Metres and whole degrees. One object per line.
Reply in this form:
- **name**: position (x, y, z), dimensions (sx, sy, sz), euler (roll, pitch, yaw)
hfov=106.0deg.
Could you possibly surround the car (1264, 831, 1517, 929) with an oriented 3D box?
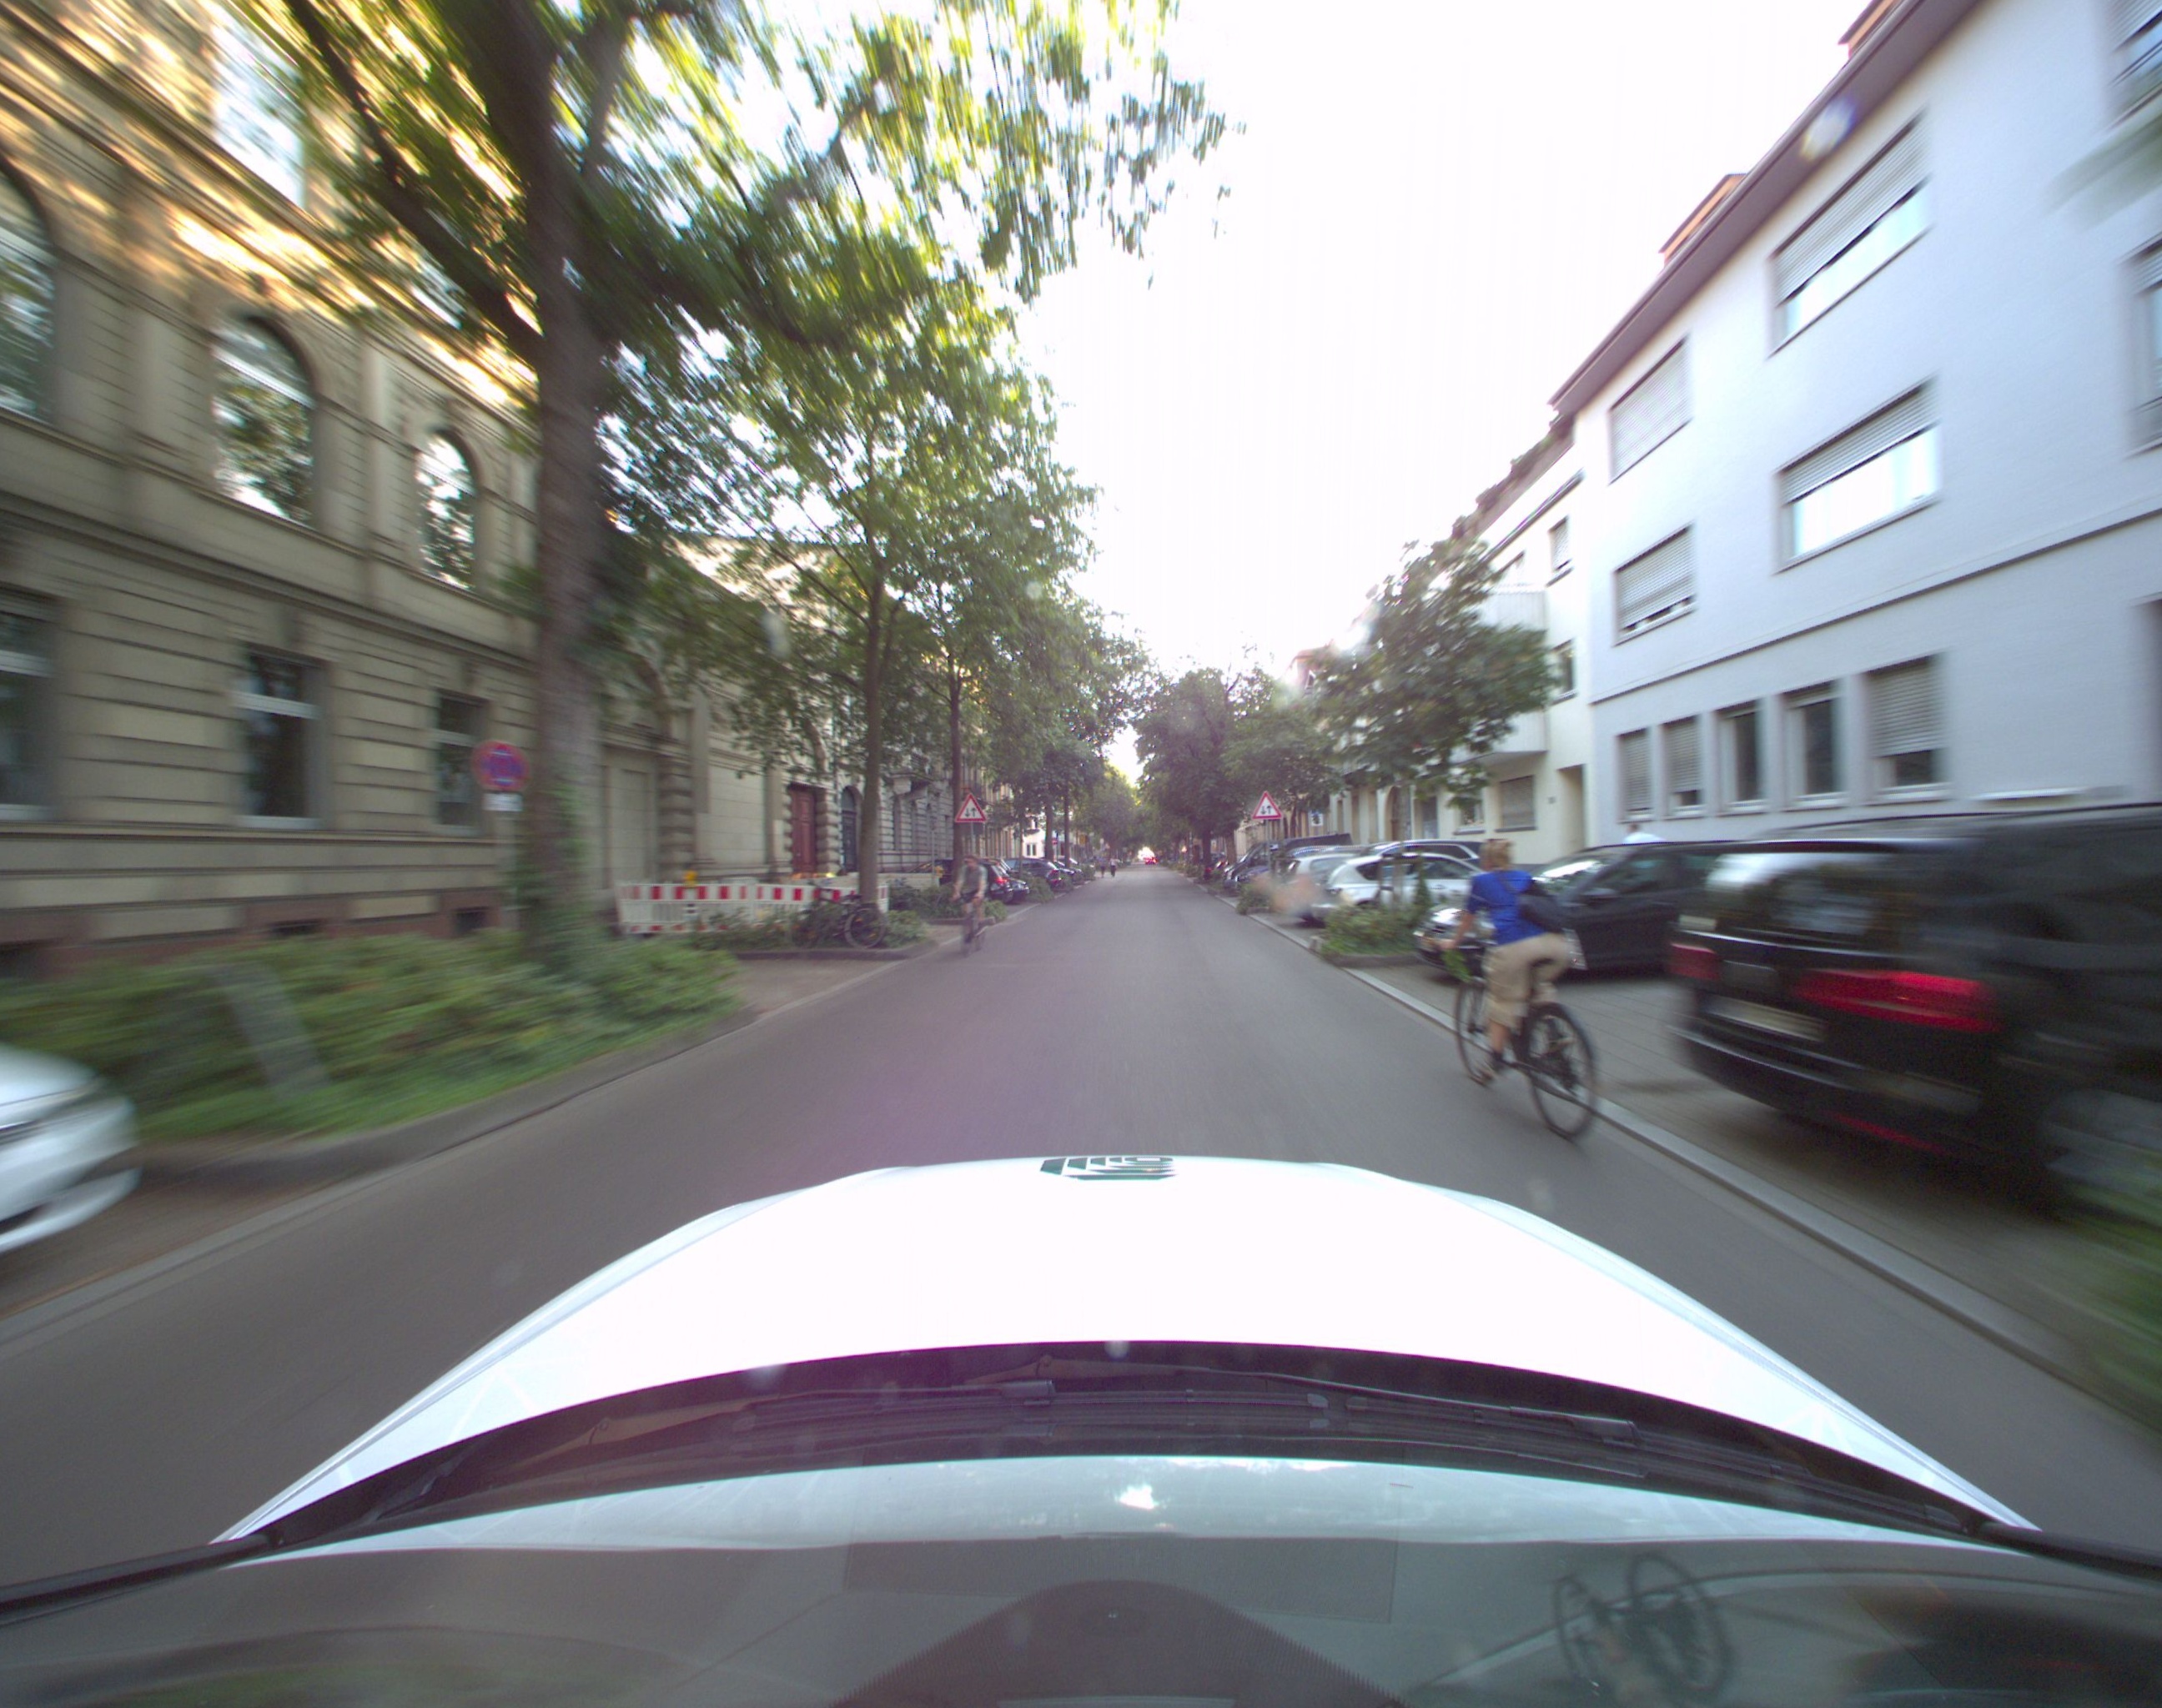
- **car**: position (6.423, 0.540, 17.351), dimensions (4.571, 1.578, 1.946), euler (-5, -1, 3)

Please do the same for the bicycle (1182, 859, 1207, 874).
- **bicycle**: position (9.282, 1.048, 66.647), dimensions (1.835, 1.135, 0.743), euler (-3, 0, -6)

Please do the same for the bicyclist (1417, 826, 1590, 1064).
- **bicyclist**: position (2.589, 0.528, 5.068), dimensions (0.670, 1.363, 0.776), euler (0, -1, 0)

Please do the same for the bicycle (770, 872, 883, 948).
- **bicycle**: position (-4.266, 0.939, 13.692), dimensions (1.760, 1.232, 0.501), euler (-1, -2, 9)

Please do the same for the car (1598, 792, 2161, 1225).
- **car**: position (5.201, 0.542, 3.944), dimensions (4.090, 1.617, 1.963), euler (-2, 0, 5)

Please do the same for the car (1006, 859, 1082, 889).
- **car**: position (-2.005, 1.078, 44.585), dimensions (3.928, 1.532, 1.909), euler (-1, -1, 3)

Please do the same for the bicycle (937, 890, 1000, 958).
- **bicycle**: position (-1.910, 1.171, 14.042), dimensions (0.669, 0.993, 1.761), euler (-2, 0, 5)

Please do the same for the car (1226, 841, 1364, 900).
- **car**: position (7.170, 0.563, 27.659), dimensions (4.139, 1.578, 1.971), euler (-5, -1, 2)

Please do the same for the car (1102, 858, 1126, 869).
- **car**: position (5.891, 1.748, 146.009), dimensions (4.184, 1.635, 1.965), euler (-3, -1, 4)

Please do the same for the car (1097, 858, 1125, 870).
- **car**: position (5.137, 1.718, 138.309), dimensions (4.661, 1.854, 1.965), euler (-3, -1, 4)

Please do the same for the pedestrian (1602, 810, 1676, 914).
- **pedestrian**: position (10.010, 0.140, 14.637), dimensions (0.694, 1.795, 0.882), euler (-2, 0, 5)

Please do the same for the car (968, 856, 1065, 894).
- **car**: position (-2.949, 0.954, 37.683), dimensions (4.182, 1.672, 1.910), euler (0, 0, 4)

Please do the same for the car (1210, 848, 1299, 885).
- **car**: position (8.530, 0.622, 40.368), dimensions (3.971, 1.437, 1.928), euler (-5, -1, 3)

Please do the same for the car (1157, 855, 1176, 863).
- **car**: position (19.624, 1.242, 188.000), dimensions (4.249, 1.565, 1.965), euler (-3, -1, 4)

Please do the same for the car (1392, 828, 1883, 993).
- **car**: position (6.068, 0.604, 9.326), dimensions (4.297, 1.496, 1.796), euler (-3, -1, 3)

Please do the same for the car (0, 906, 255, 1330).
- **car**: position (-5.930, 0.967, 2.774), dimensions (4.491, 1.390, 1.919), euler (-1, -1, 5)

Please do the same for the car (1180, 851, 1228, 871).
- **car**: position (11.781, 0.671, 78.242), dimensions (4.404, 1.656, 1.902), euler (-2, 0, 5)

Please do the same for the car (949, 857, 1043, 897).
- **car**: position (-3.636, 0.976, 35.298), dimensions (3.785, 1.672, 1.716), euler (0, 0, 3)

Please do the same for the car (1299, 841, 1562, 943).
- **car**: position (6.298, 0.680, 15.101), dimensions (4.053, 1.429, 1.821), euler (-5, -1, 6)

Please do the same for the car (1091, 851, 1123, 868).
- **car**: position (4.043, 0.870, 125.917), dimensions (4.661, 2.478, 2.002), euler (-1, -1, 4)

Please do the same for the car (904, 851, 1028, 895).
- **car**: position (-3.976, 0.637, 28.572), dimensions (3.946, 1.387, 1.767), euler (2, 1, 5)

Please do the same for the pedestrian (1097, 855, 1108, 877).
- **pedestrian**: position (1.692, 0.943, 63.847), dimensions (0.791, 1.737, 0.832), euler (-3, -1, 4)

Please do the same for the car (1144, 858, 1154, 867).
- **car**: position (13.562, 1.657, 162.316), dimensions (1.947, 1.565, 4.288), euler (-3, -1, 5)

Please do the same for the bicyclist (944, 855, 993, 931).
- **bicyclist**: position (-1.925, 0.656, 13.983), dimensions (0.669, 1.263, 0.649), euler (-2, 0, 4)

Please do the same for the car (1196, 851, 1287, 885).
- **car**: position (8.404, 0.736, 42.894), dimensions (4.383, 1.394, 1.887), euler (-5, -1, 2)

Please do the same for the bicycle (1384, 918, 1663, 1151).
- **bicycle**: position (2.585, 0.982, 5.068), dimensions (0.670, 1.030, 1.977), euler (0, -1, 0)

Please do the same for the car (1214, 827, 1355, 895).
- **car**: position (7.488, 0.260, 30.331), dimensions (4.669, 2.011, 2.039), euler (-5, -1, 3)

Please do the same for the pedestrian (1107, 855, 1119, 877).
- **pedestrian**: position (2.500, 0.917, 63.577), dimensions (0.791, 1.670, 0.832), euler (-3, -1, 4)

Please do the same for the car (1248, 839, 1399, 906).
- **car**: position (7.203, 0.551, 24.536), dimensions (3.949, 1.578, 1.853), euler (-5, -1, 3)

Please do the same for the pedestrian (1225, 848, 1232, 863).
- **pedestrian**: position (15.579, 0.136, 86.007), dimensions (0.651, 1.536, 0.832), euler (-3, -1, 5)

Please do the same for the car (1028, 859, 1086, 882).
- **car**: position (-1.556, 1.111, 54.431), dimensions (3.676, 1.458, 1.874), euler (0, 0, 3)

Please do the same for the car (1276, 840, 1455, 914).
- **car**: position (6.960, 0.553, 20.212), dimensions (3.777, 1.423, 1.699), euler (-5, -1, 3)

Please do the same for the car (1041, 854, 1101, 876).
- **car**: position (-0.728, 0.834, 61.802), dimensions (4.404, 1.651, 1.875), euler (0, 0, 5)

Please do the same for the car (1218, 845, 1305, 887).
- **car**: position (8.312, 0.552, 37.763), dimensions (3.663, 1.578, 1.716), euler (-5, -1, 5)

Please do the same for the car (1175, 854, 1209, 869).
- **car**: position (12.251, 0.813, 89.944), dimensions (3.470, 1.452, 1.900), euler (-3, 0, 2)

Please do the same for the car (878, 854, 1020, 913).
- **car**: position (-4.010, 0.874, 25.206), dimensions (3.947, 1.597, 1.783), euler (2, 0, 4)
